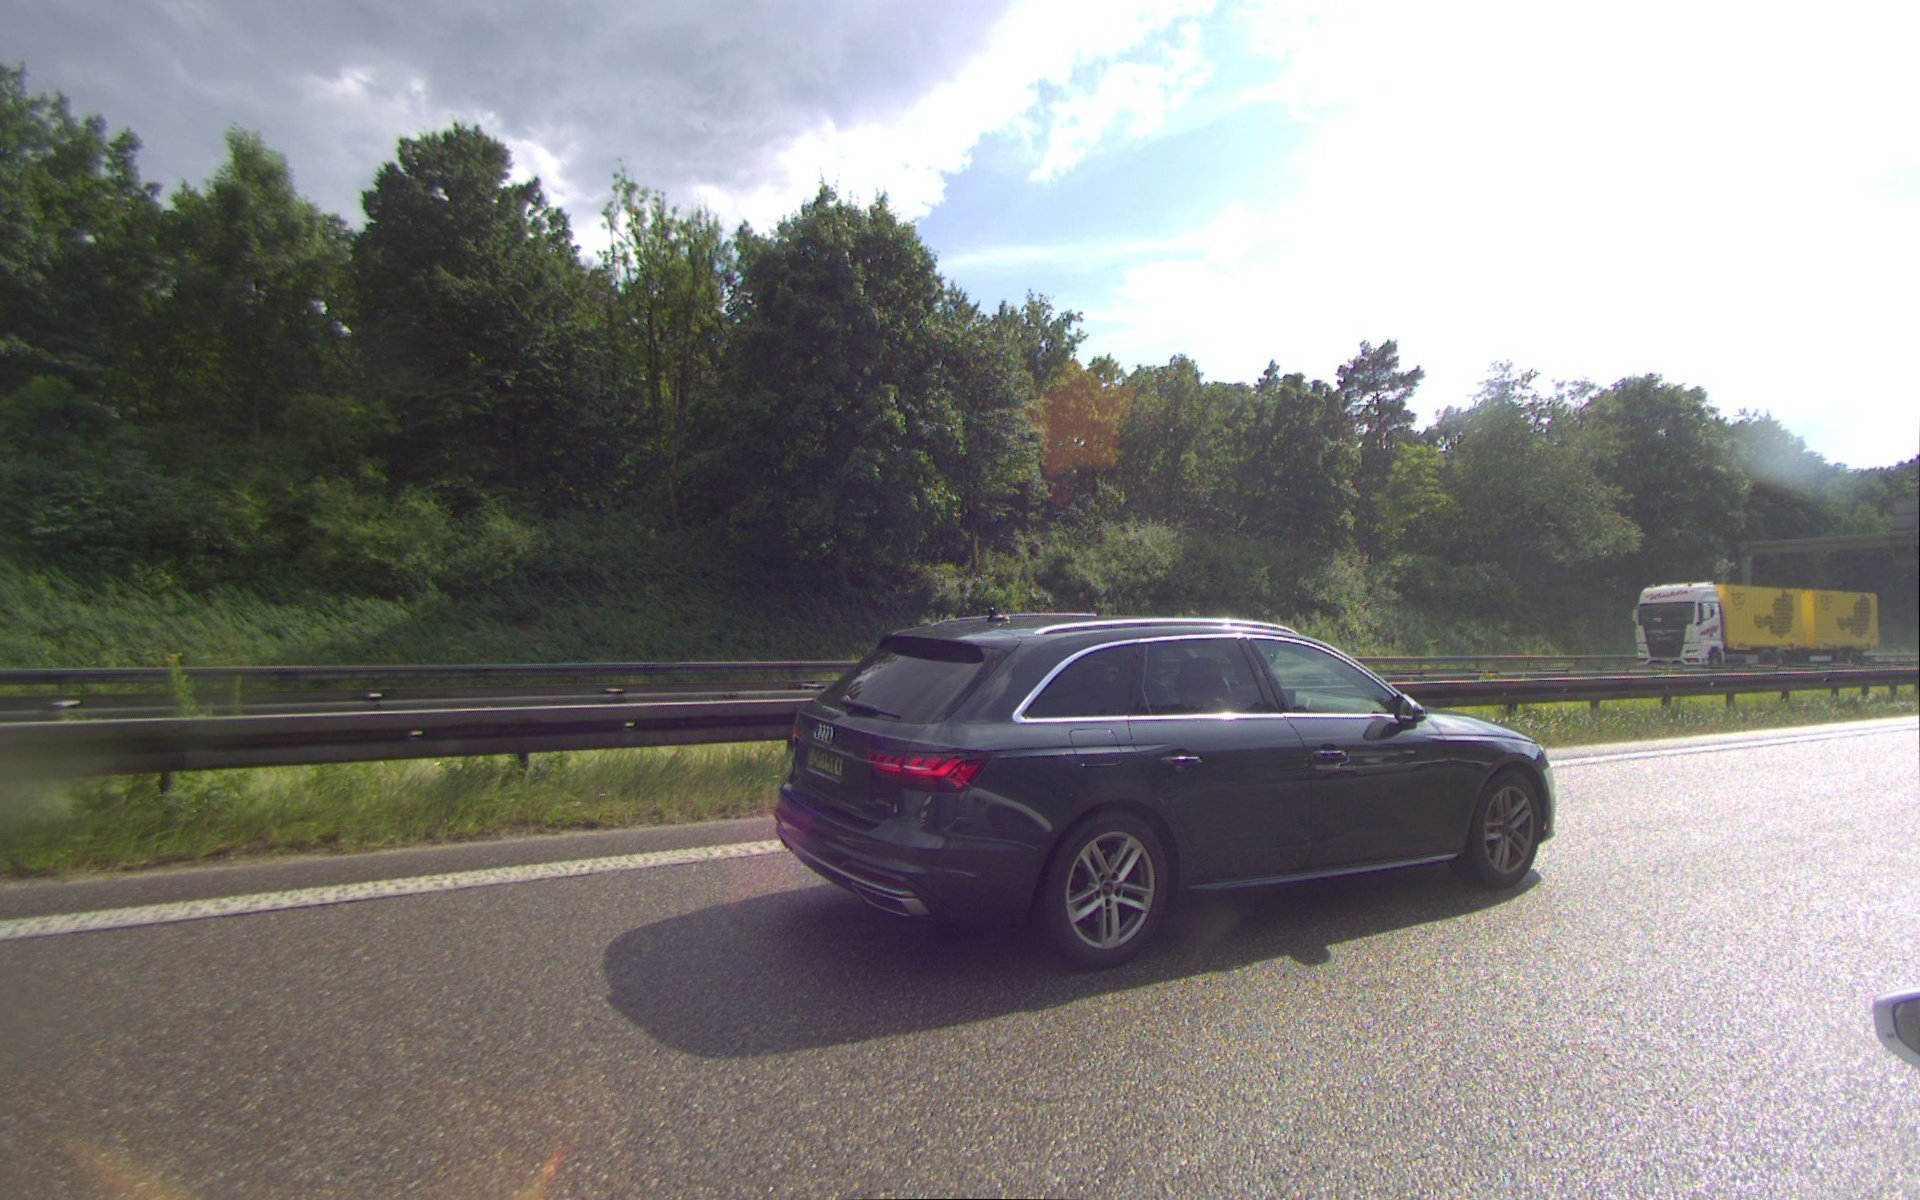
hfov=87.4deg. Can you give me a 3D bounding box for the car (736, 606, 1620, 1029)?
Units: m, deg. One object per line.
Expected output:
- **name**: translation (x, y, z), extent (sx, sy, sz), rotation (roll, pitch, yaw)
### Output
- **car**: translation (1.388, 0.820, 5.484), extent (4.783, 1.437, 1.785), rotation (2, 0, -31)

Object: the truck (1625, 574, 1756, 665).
- **truck**: translation (31.904, 0.856, 43.875), extent (5.270, 3.713, 2.709), rotation (2, 0, -31)

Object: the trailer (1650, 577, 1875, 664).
- **trailer**: translation (38.537, 1.059, 47.820), extent (16.484, 3.693, 2.709), rotation (2, 0, -31)
